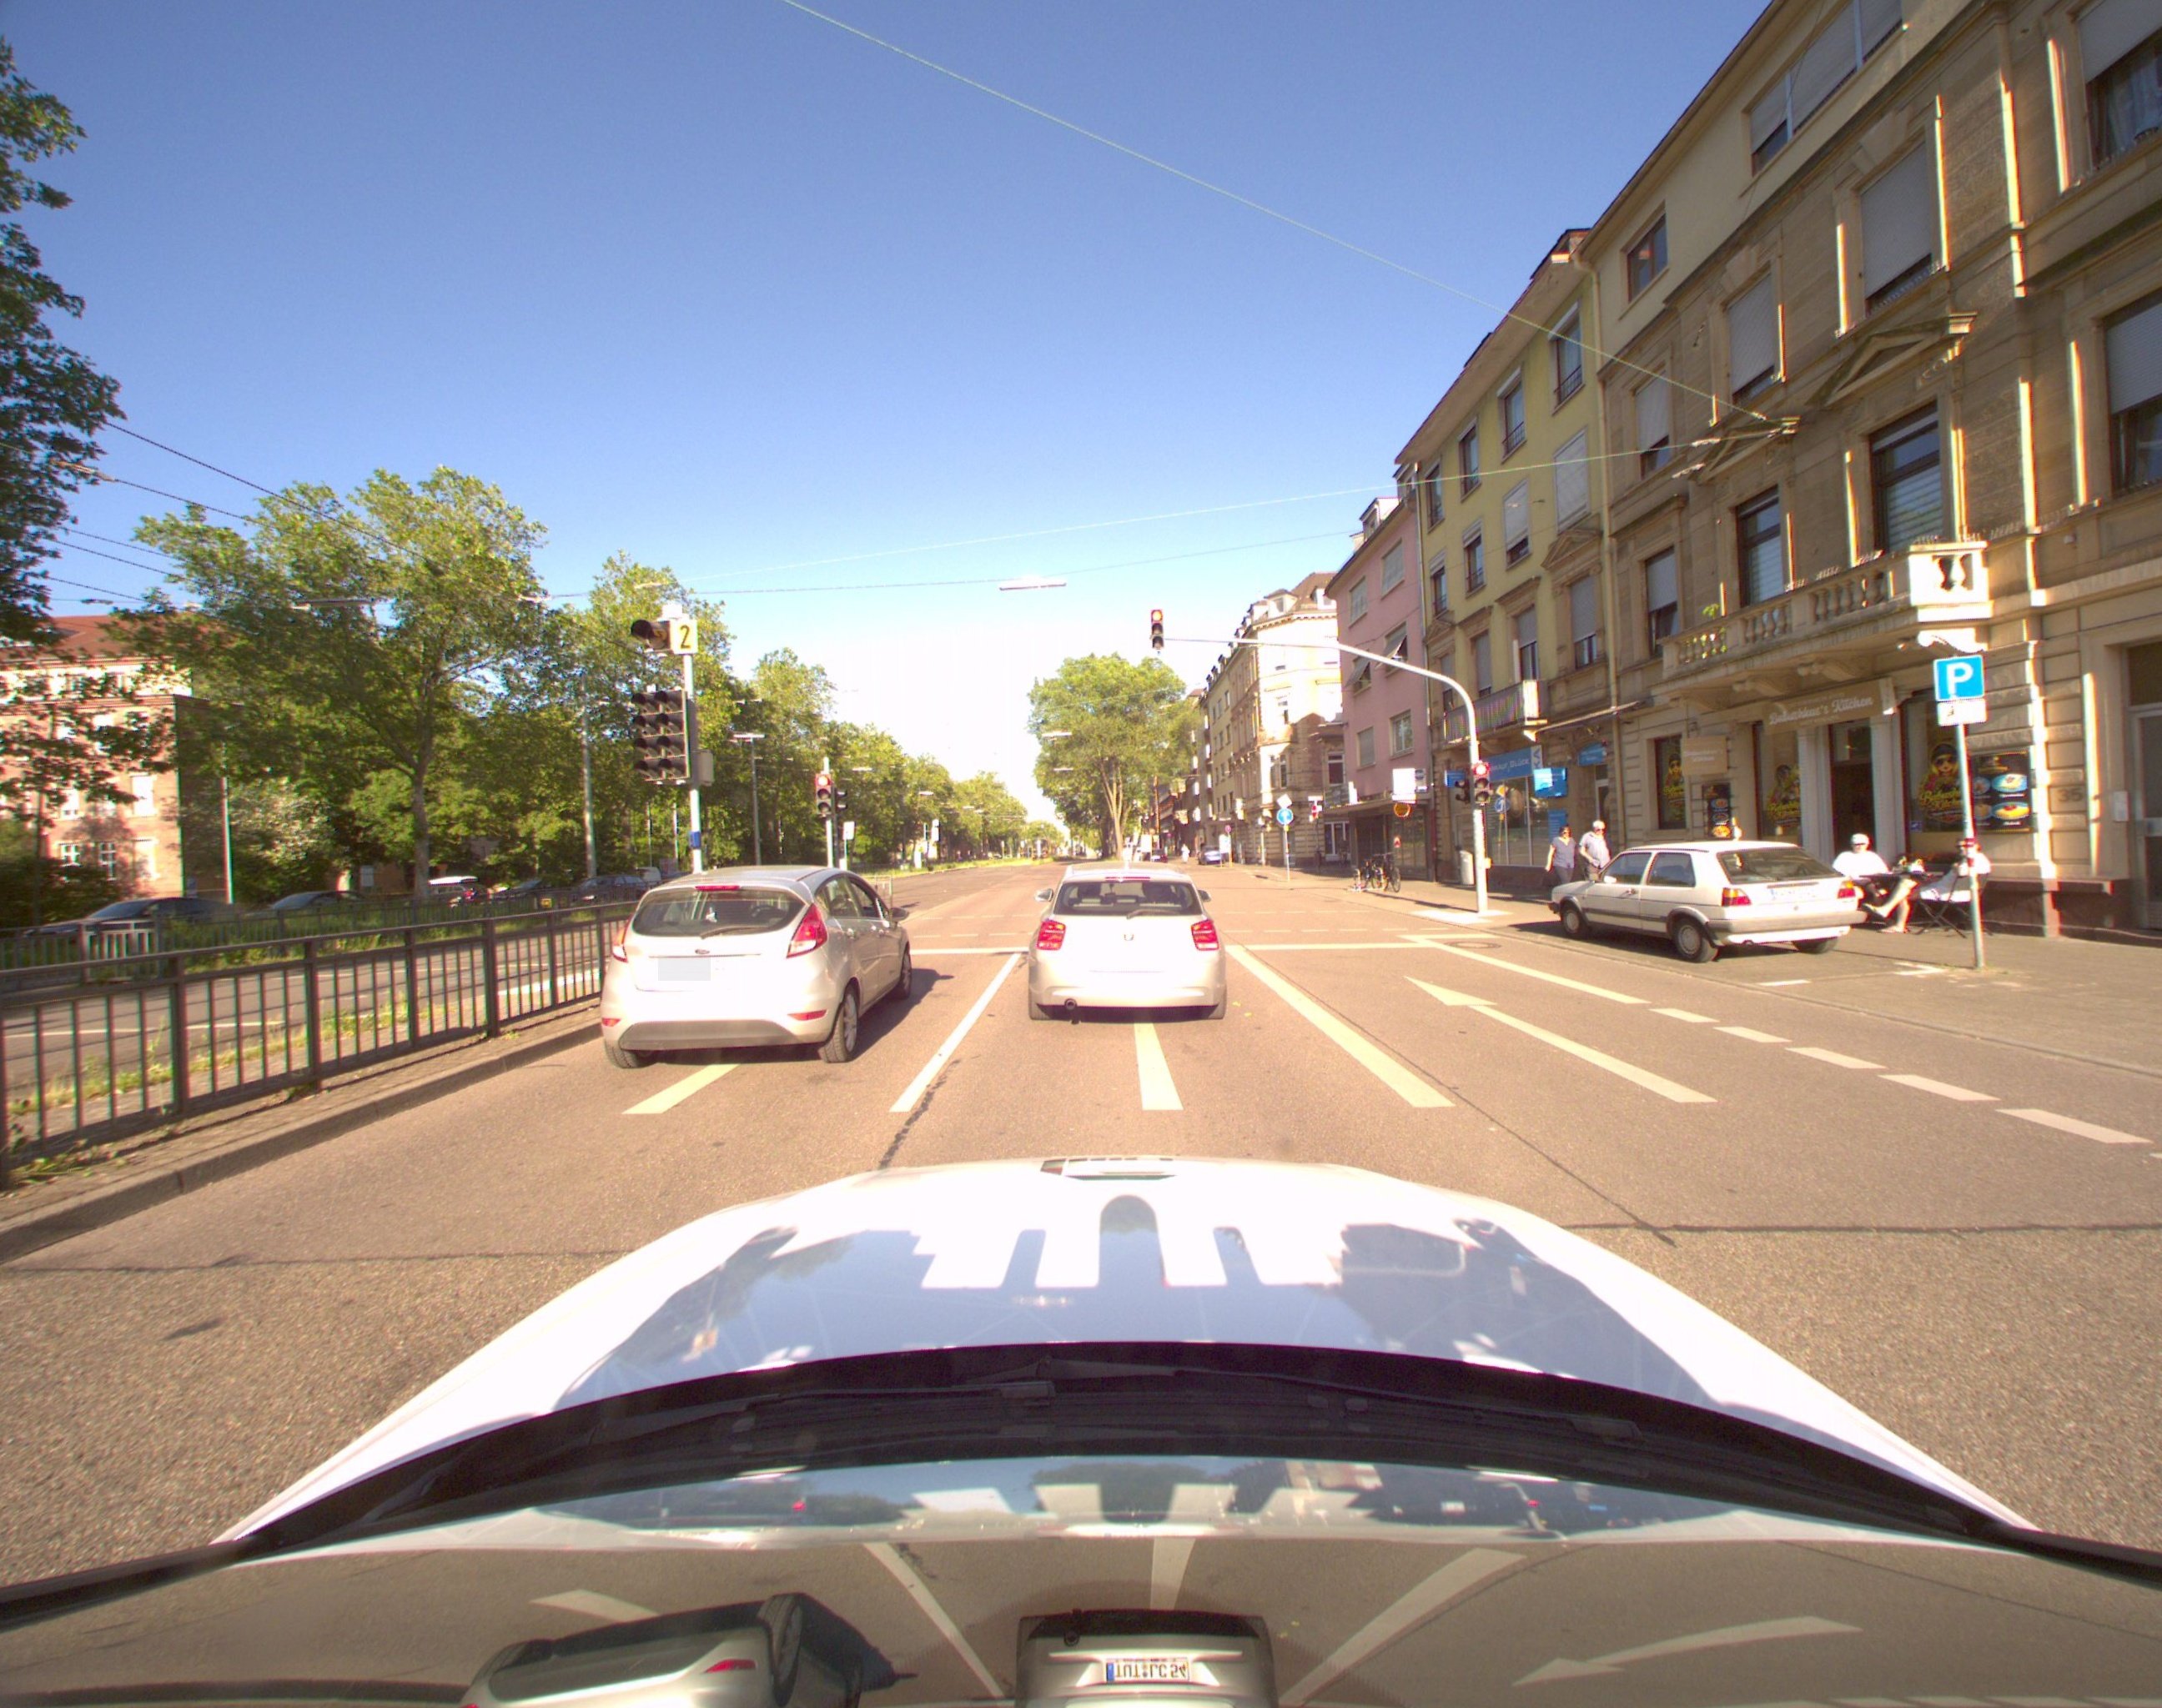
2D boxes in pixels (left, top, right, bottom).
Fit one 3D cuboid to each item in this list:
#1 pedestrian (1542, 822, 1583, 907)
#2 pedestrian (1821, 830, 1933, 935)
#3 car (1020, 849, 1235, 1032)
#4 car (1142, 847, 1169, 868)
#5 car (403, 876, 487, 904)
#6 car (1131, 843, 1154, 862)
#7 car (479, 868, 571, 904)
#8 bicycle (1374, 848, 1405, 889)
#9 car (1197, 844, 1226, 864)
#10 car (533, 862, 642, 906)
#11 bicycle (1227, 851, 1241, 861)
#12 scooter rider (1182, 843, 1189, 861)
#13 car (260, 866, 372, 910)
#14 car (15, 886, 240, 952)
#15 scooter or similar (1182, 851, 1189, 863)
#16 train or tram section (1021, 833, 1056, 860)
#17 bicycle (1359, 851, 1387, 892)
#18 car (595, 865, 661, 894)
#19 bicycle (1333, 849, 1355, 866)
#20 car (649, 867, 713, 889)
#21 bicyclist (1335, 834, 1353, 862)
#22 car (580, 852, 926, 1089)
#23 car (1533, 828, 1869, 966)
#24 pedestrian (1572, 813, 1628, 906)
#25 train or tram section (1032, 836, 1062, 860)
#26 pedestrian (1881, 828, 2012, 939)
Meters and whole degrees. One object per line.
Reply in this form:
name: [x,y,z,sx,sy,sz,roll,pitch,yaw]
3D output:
pedestrian: [9.922,0.207,16.791,0.547,1.708,0.389,-2,0,4]
pedestrian: [10.628,0.369,10.898,0.795,1.281,0.608,-6,0,-1]
car: [0.440,0.693,8.615,1.733,1.467,4.002,-1,0,2]
car: [5.410,0.218,59.298,1.729,1.433,3.680,-1,0,2]
car: [-37.779,2.129,48.383,3.968,1.494,1.396,-2,0,5]
car: [5.289,-0.136,70.336,1.719,1.507,3.555,-1,0,0]
car: [-27.940,1.575,41.096,1.664,1.509,4.145,-2,0,0]
bicycle: [9.187,0.421,24.292,0.446,1.159,1.762,-2,1,8]
car: [10.357,-0.029,64.884,1.729,1.519,3.637,-1,0,1]
car: [-19.268,1.114,32.040,1.679,1.498,4.341,-2,0,-1]
bicycle: [12.216,0.144,65.193,0.752,0.770,1.945,-2,0,0]
scooter rider: [9.024,-0.163,70.168,0.462,1.505,0.814,-2,0,15]
car: [-40.344,1.740,43.110,1.986,2.013,4.002,-2,0,2]
car: [-27.808,1.835,23.995,1.664,1.509,4.145,-2,1,0]
scooter or similar: [8.988,0.269,70.207,0.335,0.988,1.290,-2,0,17]
train or tram section: [-6.703,-1.191,131.818,3.954,3.865,17.497,-2,0,2]
bicycle: [8.692,0.499,24.308,0.411,1.140,1.814,-2,0,8]
car: [-27.686,1.522,49.909,1.664,1.509,4.145,-2,0,0]
bicycle: [14.589,0.179,45.169,0.646,0.903,1.346,-1,1,43]
car: [-27.442,1.606,56.117,1.929,1.349,4.849,-2,-1,0]
bicyclist: [14.609,-0.344,45.208,0.541,1.502,0.967,-2,0,43]
car: [-2.504,0.749,7.271,1.605,1.467,3.886,-2,0,-3]
car: [8.086,0.466,11.169,1.557,1.415,4.006,-6,0,2]
pedestrian: [10.535,0.115,16.558,0.670,1.806,0.531,-5,0,1]
train or tram section: [-6.057,-1.114,149.252,3.990,3.865,17.497,-2,0,2]
pedestrian: [10.861,0.354,10.242,0.899,1.281,0.655,-4,0,-4]
